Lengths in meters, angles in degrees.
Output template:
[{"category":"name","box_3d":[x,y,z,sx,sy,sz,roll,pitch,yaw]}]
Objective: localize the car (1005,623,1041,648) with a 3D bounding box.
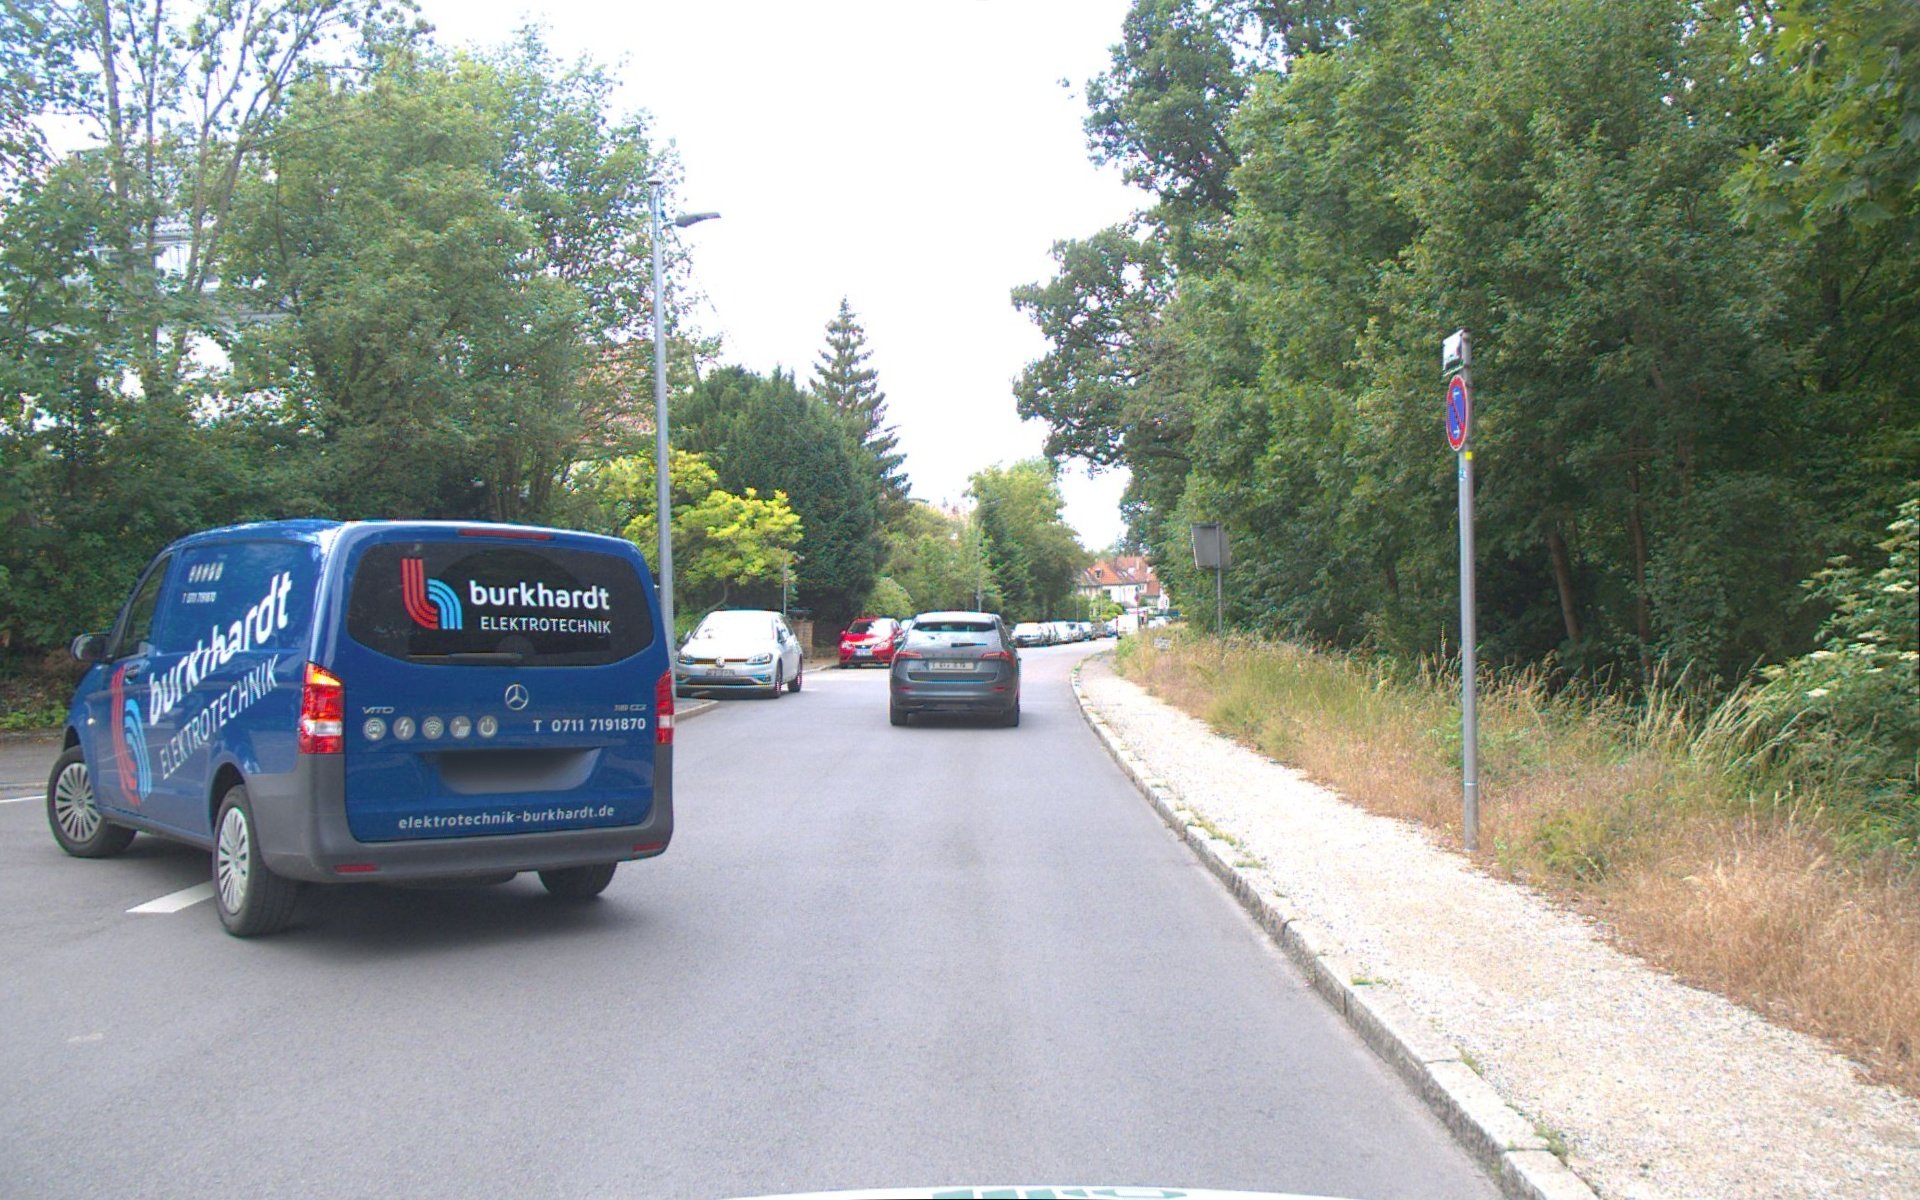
[{"category":"car","box_3d":[3.696,2.043,96.884,1.711,1.429,4.003,0,-1,8]}]

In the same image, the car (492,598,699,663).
[{"category":"car","box_3d":[-8.564,0.704,39.088,4.386,1.466,1.880,0,-1,5]}]

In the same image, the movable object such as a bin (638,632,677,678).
[{"category":"movable object such as a bin","box_3d":[-6.094,1.104,33.364,0.578,0.925,0.701,0,-1,8]}]

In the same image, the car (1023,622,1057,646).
[{"category":"car","box_3d":[4.994,2.097,103.001,1.711,1.429,4.003,0,-1,8]}]

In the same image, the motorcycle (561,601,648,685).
[{"category":"motorcycle","box_3d":[-6.689,0.798,31.293,0.792,1.511,2.897,0,-1,4]}]

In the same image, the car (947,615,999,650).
[{"category":"car","box_3d":[0.582,1.361,70.131,1.711,1.429,4.003,0,-1,8]}]

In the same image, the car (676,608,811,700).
[{"category":"car","box_3d":[-3.720,0.905,28.998,1.670,1.493,4.076,0,-1,2]}]

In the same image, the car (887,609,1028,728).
[{"category":"car","box_3d":[0.056,0.873,22.710,1.698,1.472,4.182,0,-1,3]}]

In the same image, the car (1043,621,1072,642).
[{"category":"car","box_3d":[6.824,2.213,115.849,1.711,1.429,4.003,0,-1,8]}]

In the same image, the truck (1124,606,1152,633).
[{"category":"truck","box_3d":[19.313,2.062,179.503,2.704,2.843,9.275,0,0,8]}]

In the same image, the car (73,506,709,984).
[{"category":"car","box_3d":[-3.316,0.575,8.998,1.923,1.913,4.468,0,0,-38]}]

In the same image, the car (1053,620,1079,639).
[{"category":"car","box_3d":[8.080,2.242,125.695,1.711,1.429,4.003,0,-1,8]}]

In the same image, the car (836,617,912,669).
[{"category":"car","box_3d":[-2.471,1.224,48.308,1.600,1.429,4.002,0,-1,6]}]

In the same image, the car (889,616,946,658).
[{"category":"car","box_3d":[-1.479,1.303,59.004,1.712,1.429,4.001,0,-1,3]}]

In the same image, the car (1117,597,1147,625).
[{"category":"car","box_3d":[13.191,0.820,126.616,2.159,2.100,6.139,0,0,7]}]
